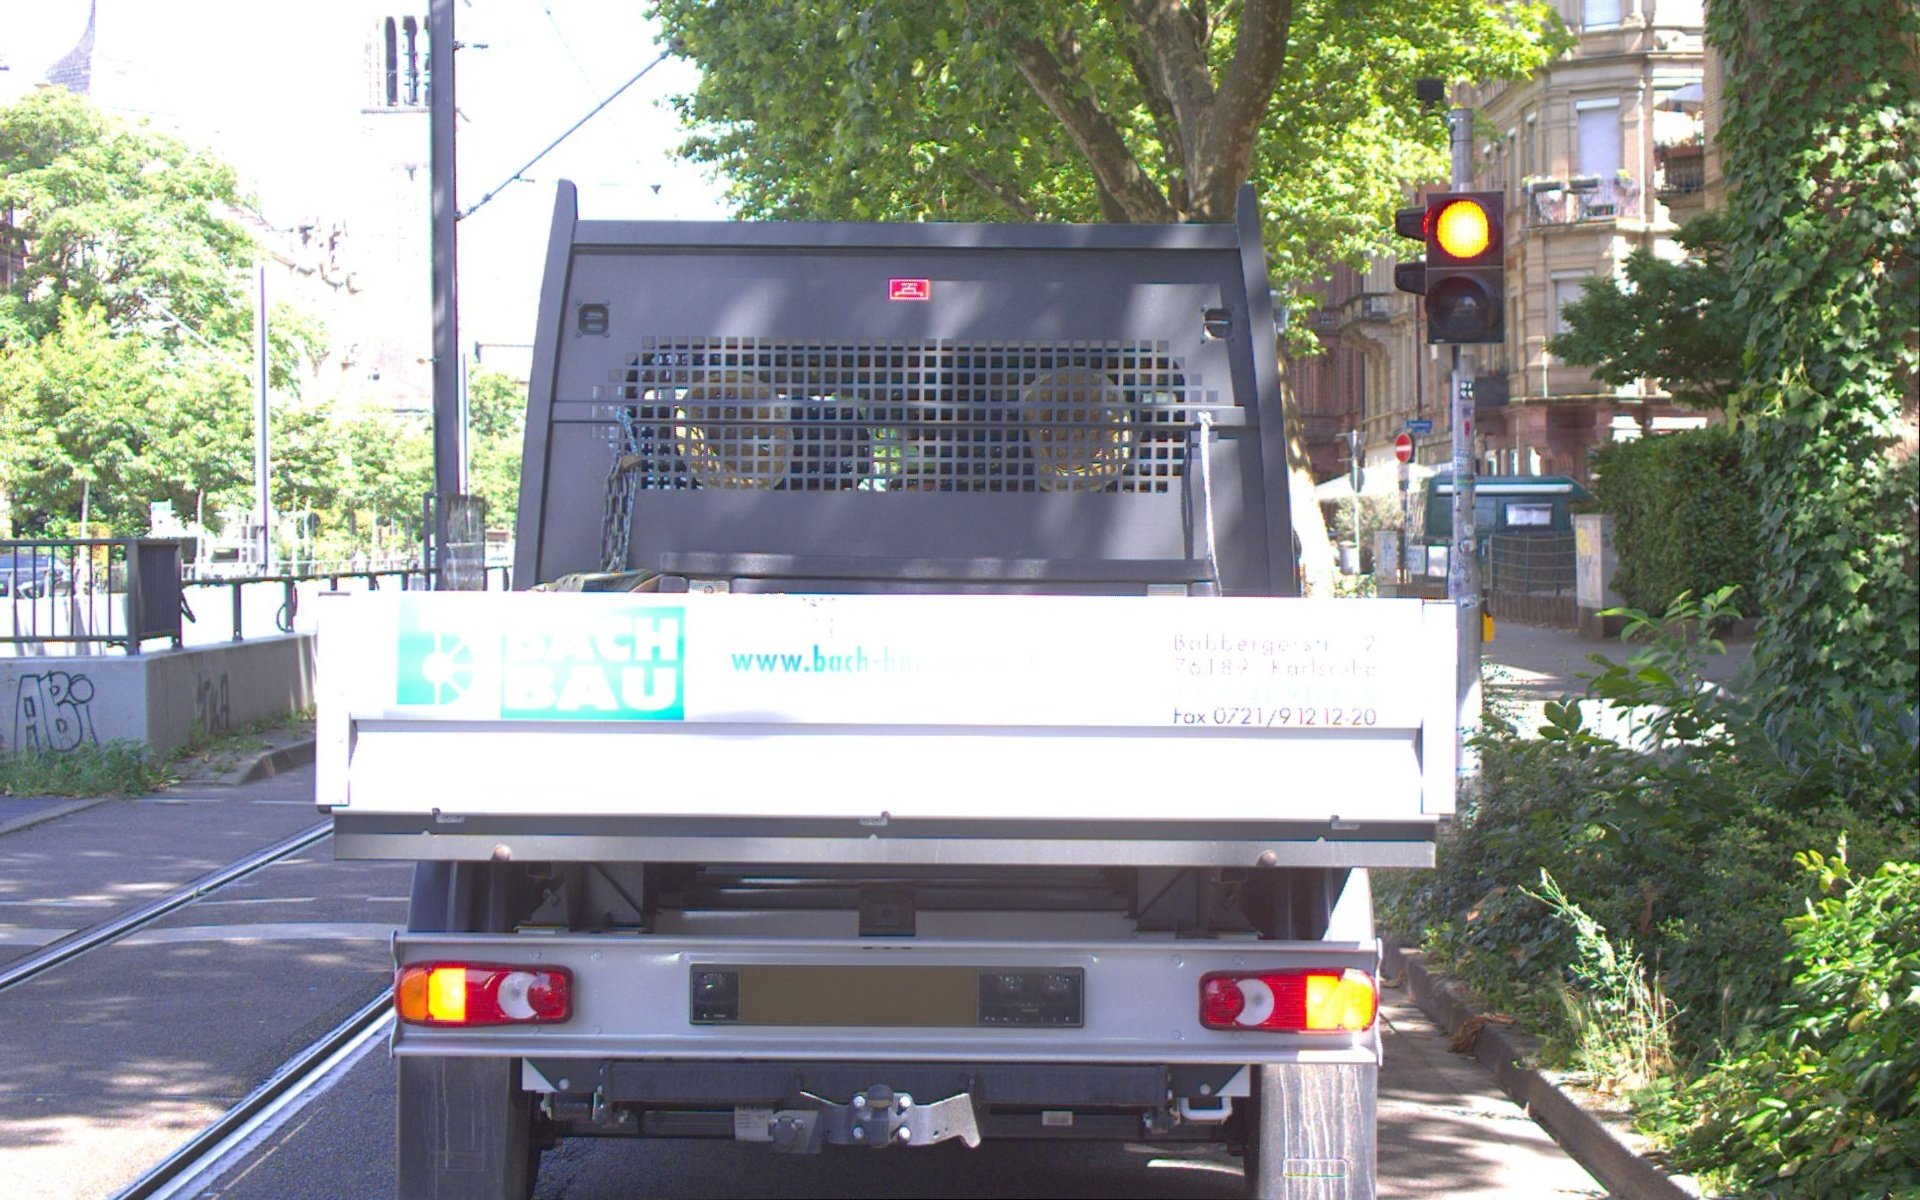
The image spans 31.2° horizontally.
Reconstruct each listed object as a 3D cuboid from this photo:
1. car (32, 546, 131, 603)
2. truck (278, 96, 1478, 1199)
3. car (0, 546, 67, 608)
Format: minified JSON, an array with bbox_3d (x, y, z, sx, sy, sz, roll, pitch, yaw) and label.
[{"bbox_3d":[-23.724,-0.712,92.940,1.770,1.493,4.000,-1,1,-2],"label":"car"},{"bbox_3d":[-0.139,0.218,8.339,2.138,2.311,4.402,0,1,0],"label":"truck"},{"bbox_3d":[-23.460,-0.577,85.104,1.770,1.493,4.000,-1,1,-2],"label":"car"}]
